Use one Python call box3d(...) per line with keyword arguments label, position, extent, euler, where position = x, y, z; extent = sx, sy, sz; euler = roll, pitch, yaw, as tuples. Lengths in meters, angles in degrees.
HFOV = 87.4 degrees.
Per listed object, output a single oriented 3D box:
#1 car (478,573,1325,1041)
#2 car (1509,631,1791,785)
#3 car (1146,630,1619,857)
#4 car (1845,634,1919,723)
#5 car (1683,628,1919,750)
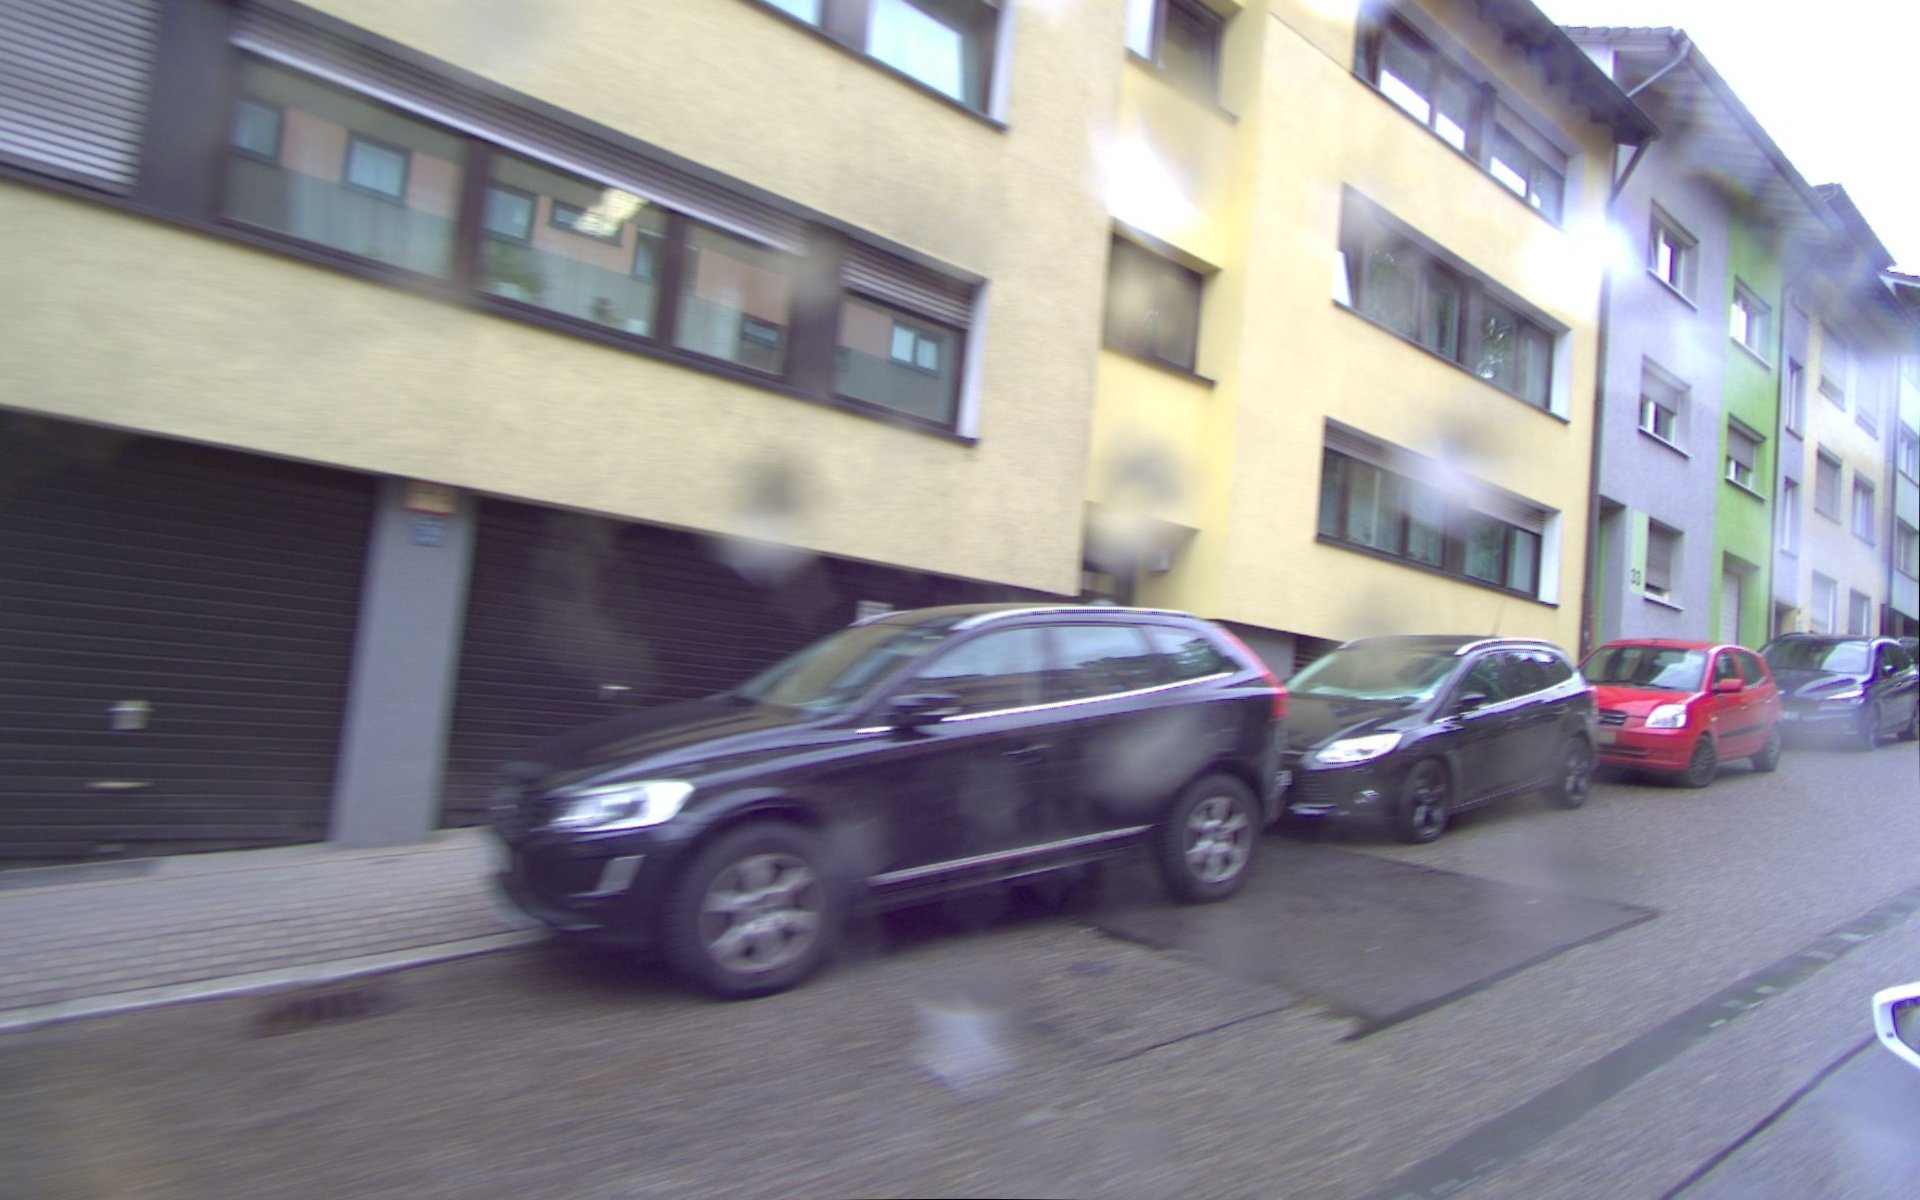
box3d(label="car", position=(-0.158, 0.799, 5.664), extent=(4.395, 1.672, 1.982), euler=(1, -1, -34))
box3d(label="car", position=(8.034, 1.120, 11.623), extent=(3.459, 1.492, 1.716), euler=(1, -2, -37))
box3d(label="car", position=(3.839, 1.029, 8.833), extent=(4.308, 1.492, 1.979), euler=(1, -2, -37))
box3d(label="car", position=(19.139, 1.485, 19.731), extent=(4.265, 1.606, 1.840), euler=(1, -2, -37))
box3d(label="car", position=(13.124, 1.253, 15.533), extent=(4.430, 1.606, 1.979), euler=(1, -2, -37))
